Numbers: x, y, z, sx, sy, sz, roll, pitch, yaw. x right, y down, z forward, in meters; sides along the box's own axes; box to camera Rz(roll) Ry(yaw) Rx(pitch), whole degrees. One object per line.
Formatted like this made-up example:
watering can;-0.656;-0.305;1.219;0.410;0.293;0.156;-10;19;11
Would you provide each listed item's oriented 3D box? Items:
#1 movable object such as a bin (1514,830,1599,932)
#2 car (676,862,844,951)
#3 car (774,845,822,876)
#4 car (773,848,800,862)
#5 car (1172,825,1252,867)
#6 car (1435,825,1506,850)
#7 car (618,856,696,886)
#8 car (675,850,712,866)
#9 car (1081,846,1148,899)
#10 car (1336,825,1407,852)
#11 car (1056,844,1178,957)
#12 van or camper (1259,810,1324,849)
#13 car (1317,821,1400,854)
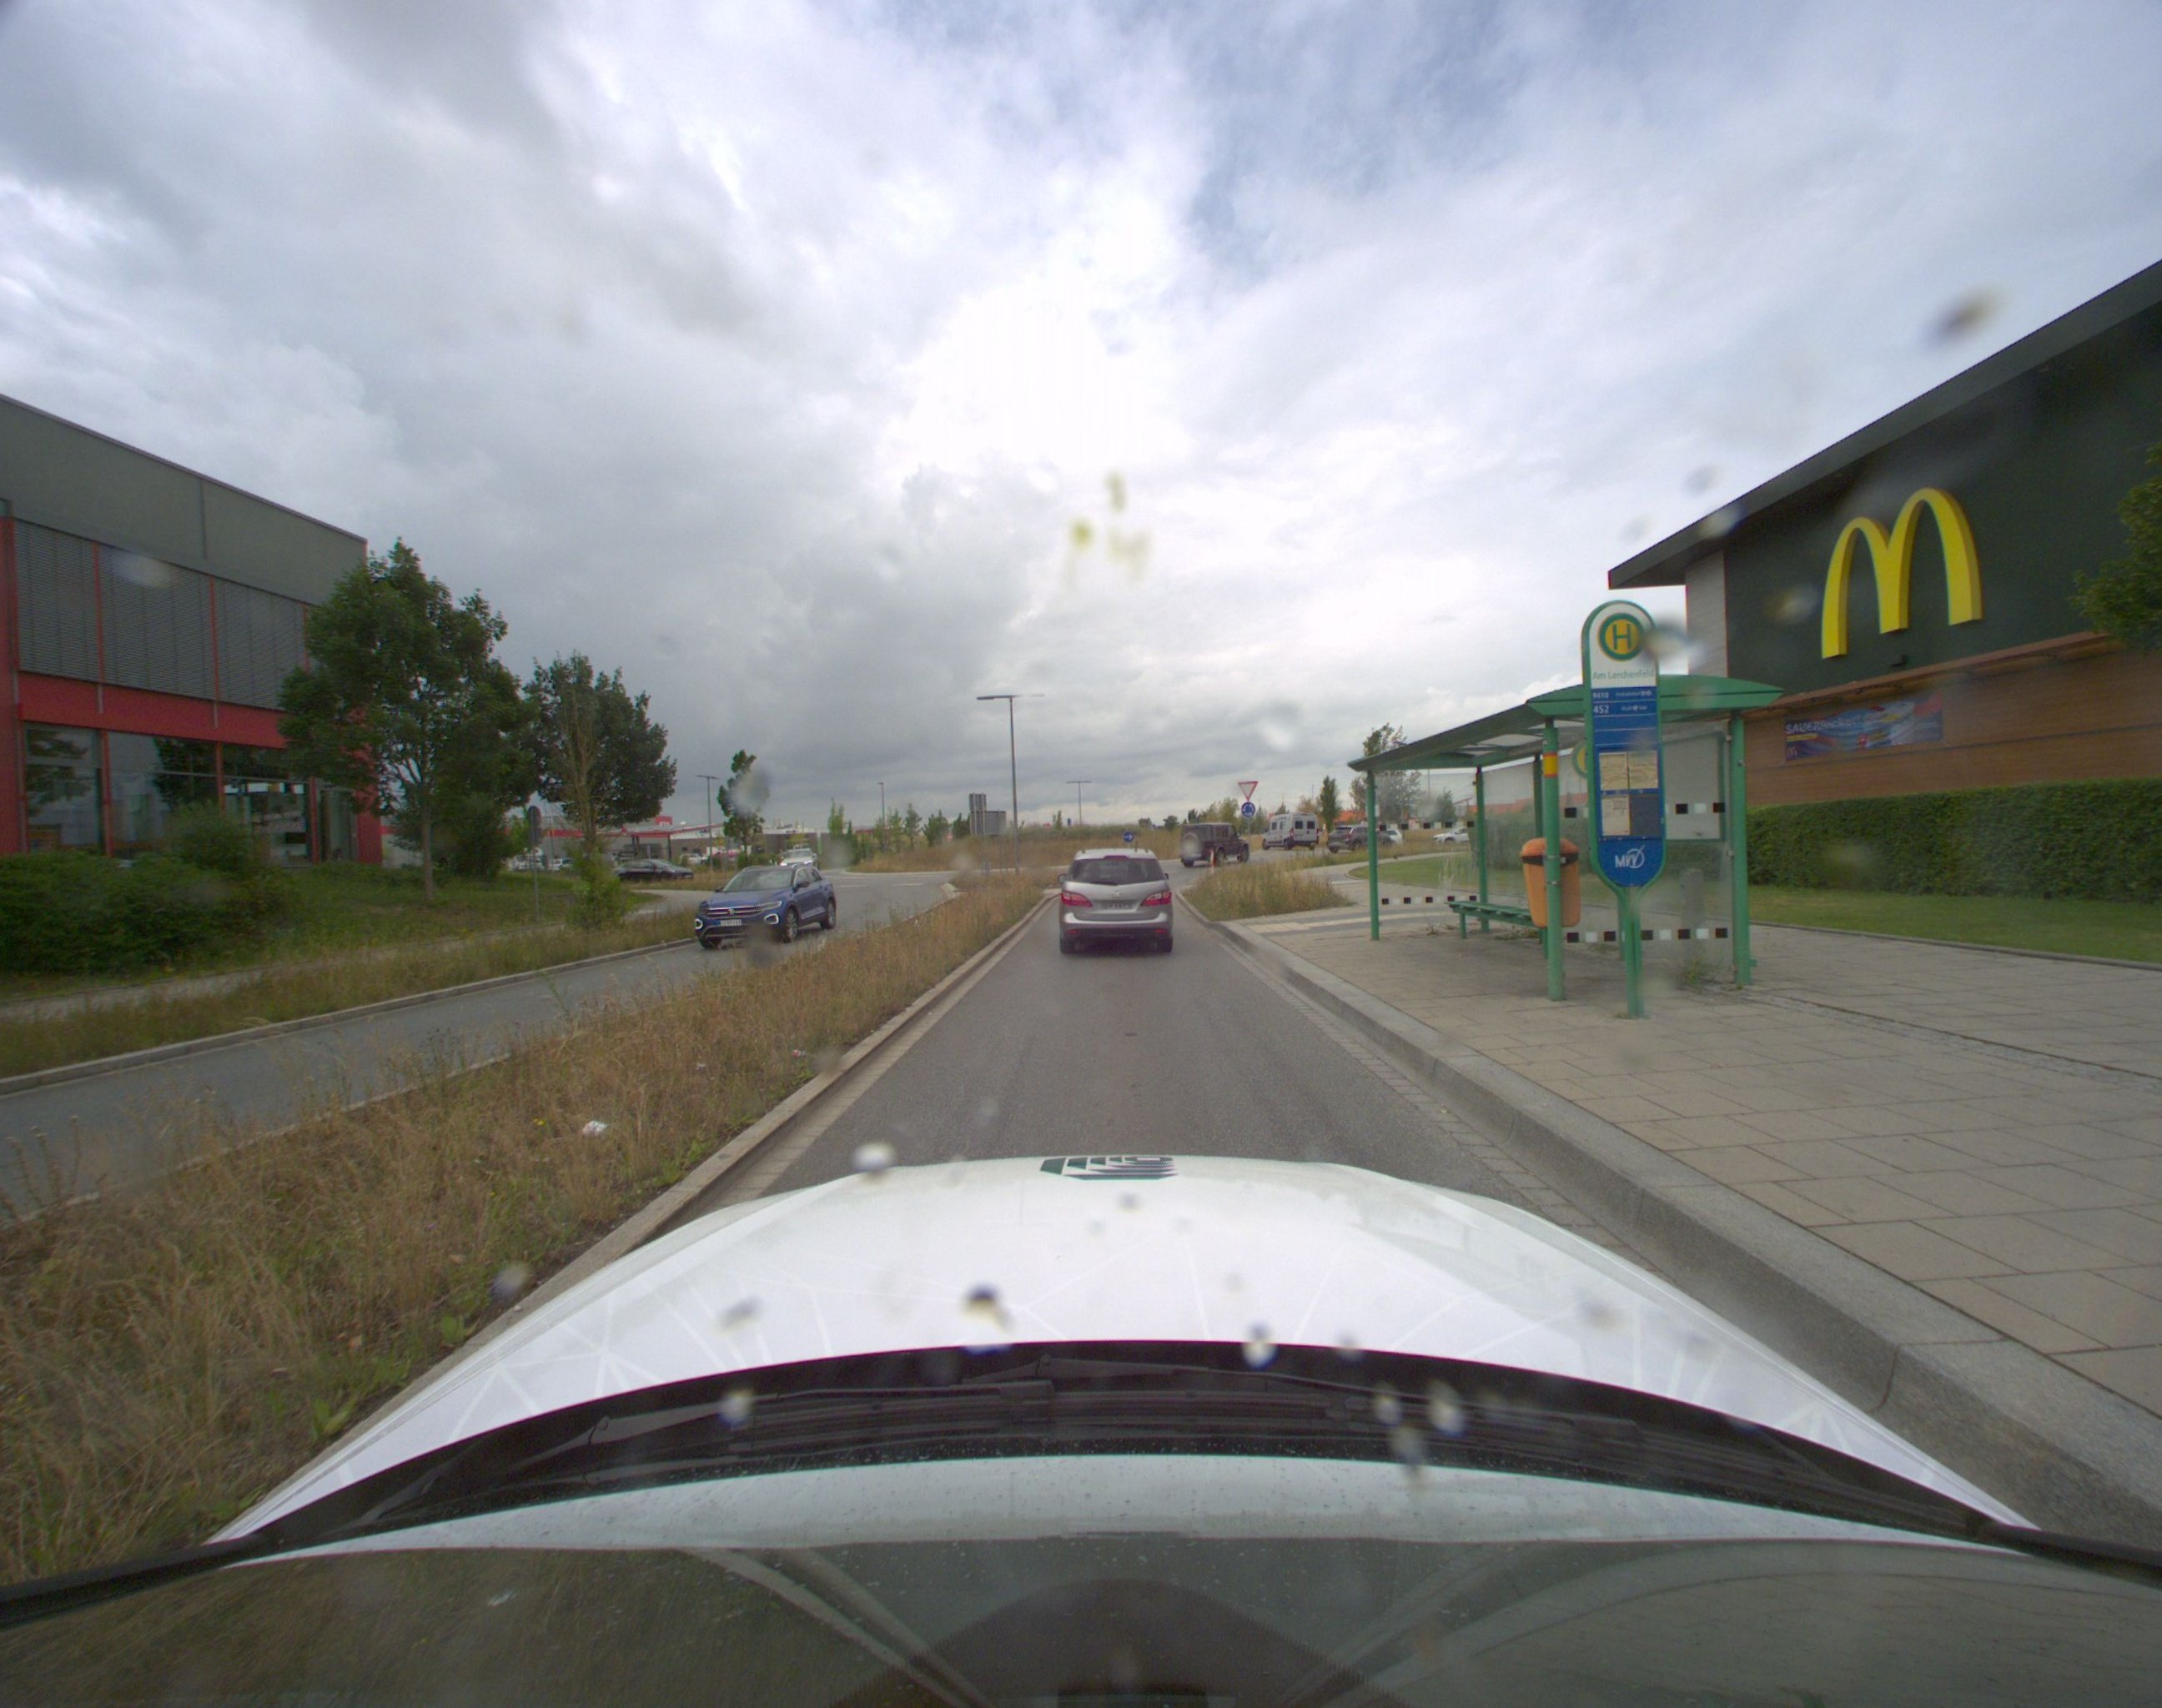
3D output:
movable object such as a bin;3.869;0.212;6.639;0.454;0.798;0.380;-2;0;1
car;-6.634;1.000;17.374;1.836;1.528;4.226;-4;0;-1
car;-16.991;0.388;49.104;2.027;1.690;4.199;-2;0;-11
car;-40.372;0.150;111.753;1.985;1.859;4.004;-2;0;3
car;6.223;-0.388;38.213;2.038;1.825;4.816;-2;0;30
car;27.554;-1.184;57.749;4.079;1.603;2.003;-2;0;4
car;-23.113;0.931;44.308;4.355;1.484;1.793;-1;0;33
car;-53.752;0.572;112.985;3.973;2.013;2.000;-2;0;0
car;1.100;0.520;25.349;1.837;1.418;4.229;-2;1;4
car;20.778;-1.068;58.477;4.571;1.757;2.007;-2;0;12
car;0.562;0.648;13.606;1.723;1.600;3.808;-1;1;1
van or camper;14.637;-1.662;56.985;2.305;2.506;5.184;-2;0;-12
car;15.681;-0.910;46.000;4.213;1.592;2.047;-4;1;-27
